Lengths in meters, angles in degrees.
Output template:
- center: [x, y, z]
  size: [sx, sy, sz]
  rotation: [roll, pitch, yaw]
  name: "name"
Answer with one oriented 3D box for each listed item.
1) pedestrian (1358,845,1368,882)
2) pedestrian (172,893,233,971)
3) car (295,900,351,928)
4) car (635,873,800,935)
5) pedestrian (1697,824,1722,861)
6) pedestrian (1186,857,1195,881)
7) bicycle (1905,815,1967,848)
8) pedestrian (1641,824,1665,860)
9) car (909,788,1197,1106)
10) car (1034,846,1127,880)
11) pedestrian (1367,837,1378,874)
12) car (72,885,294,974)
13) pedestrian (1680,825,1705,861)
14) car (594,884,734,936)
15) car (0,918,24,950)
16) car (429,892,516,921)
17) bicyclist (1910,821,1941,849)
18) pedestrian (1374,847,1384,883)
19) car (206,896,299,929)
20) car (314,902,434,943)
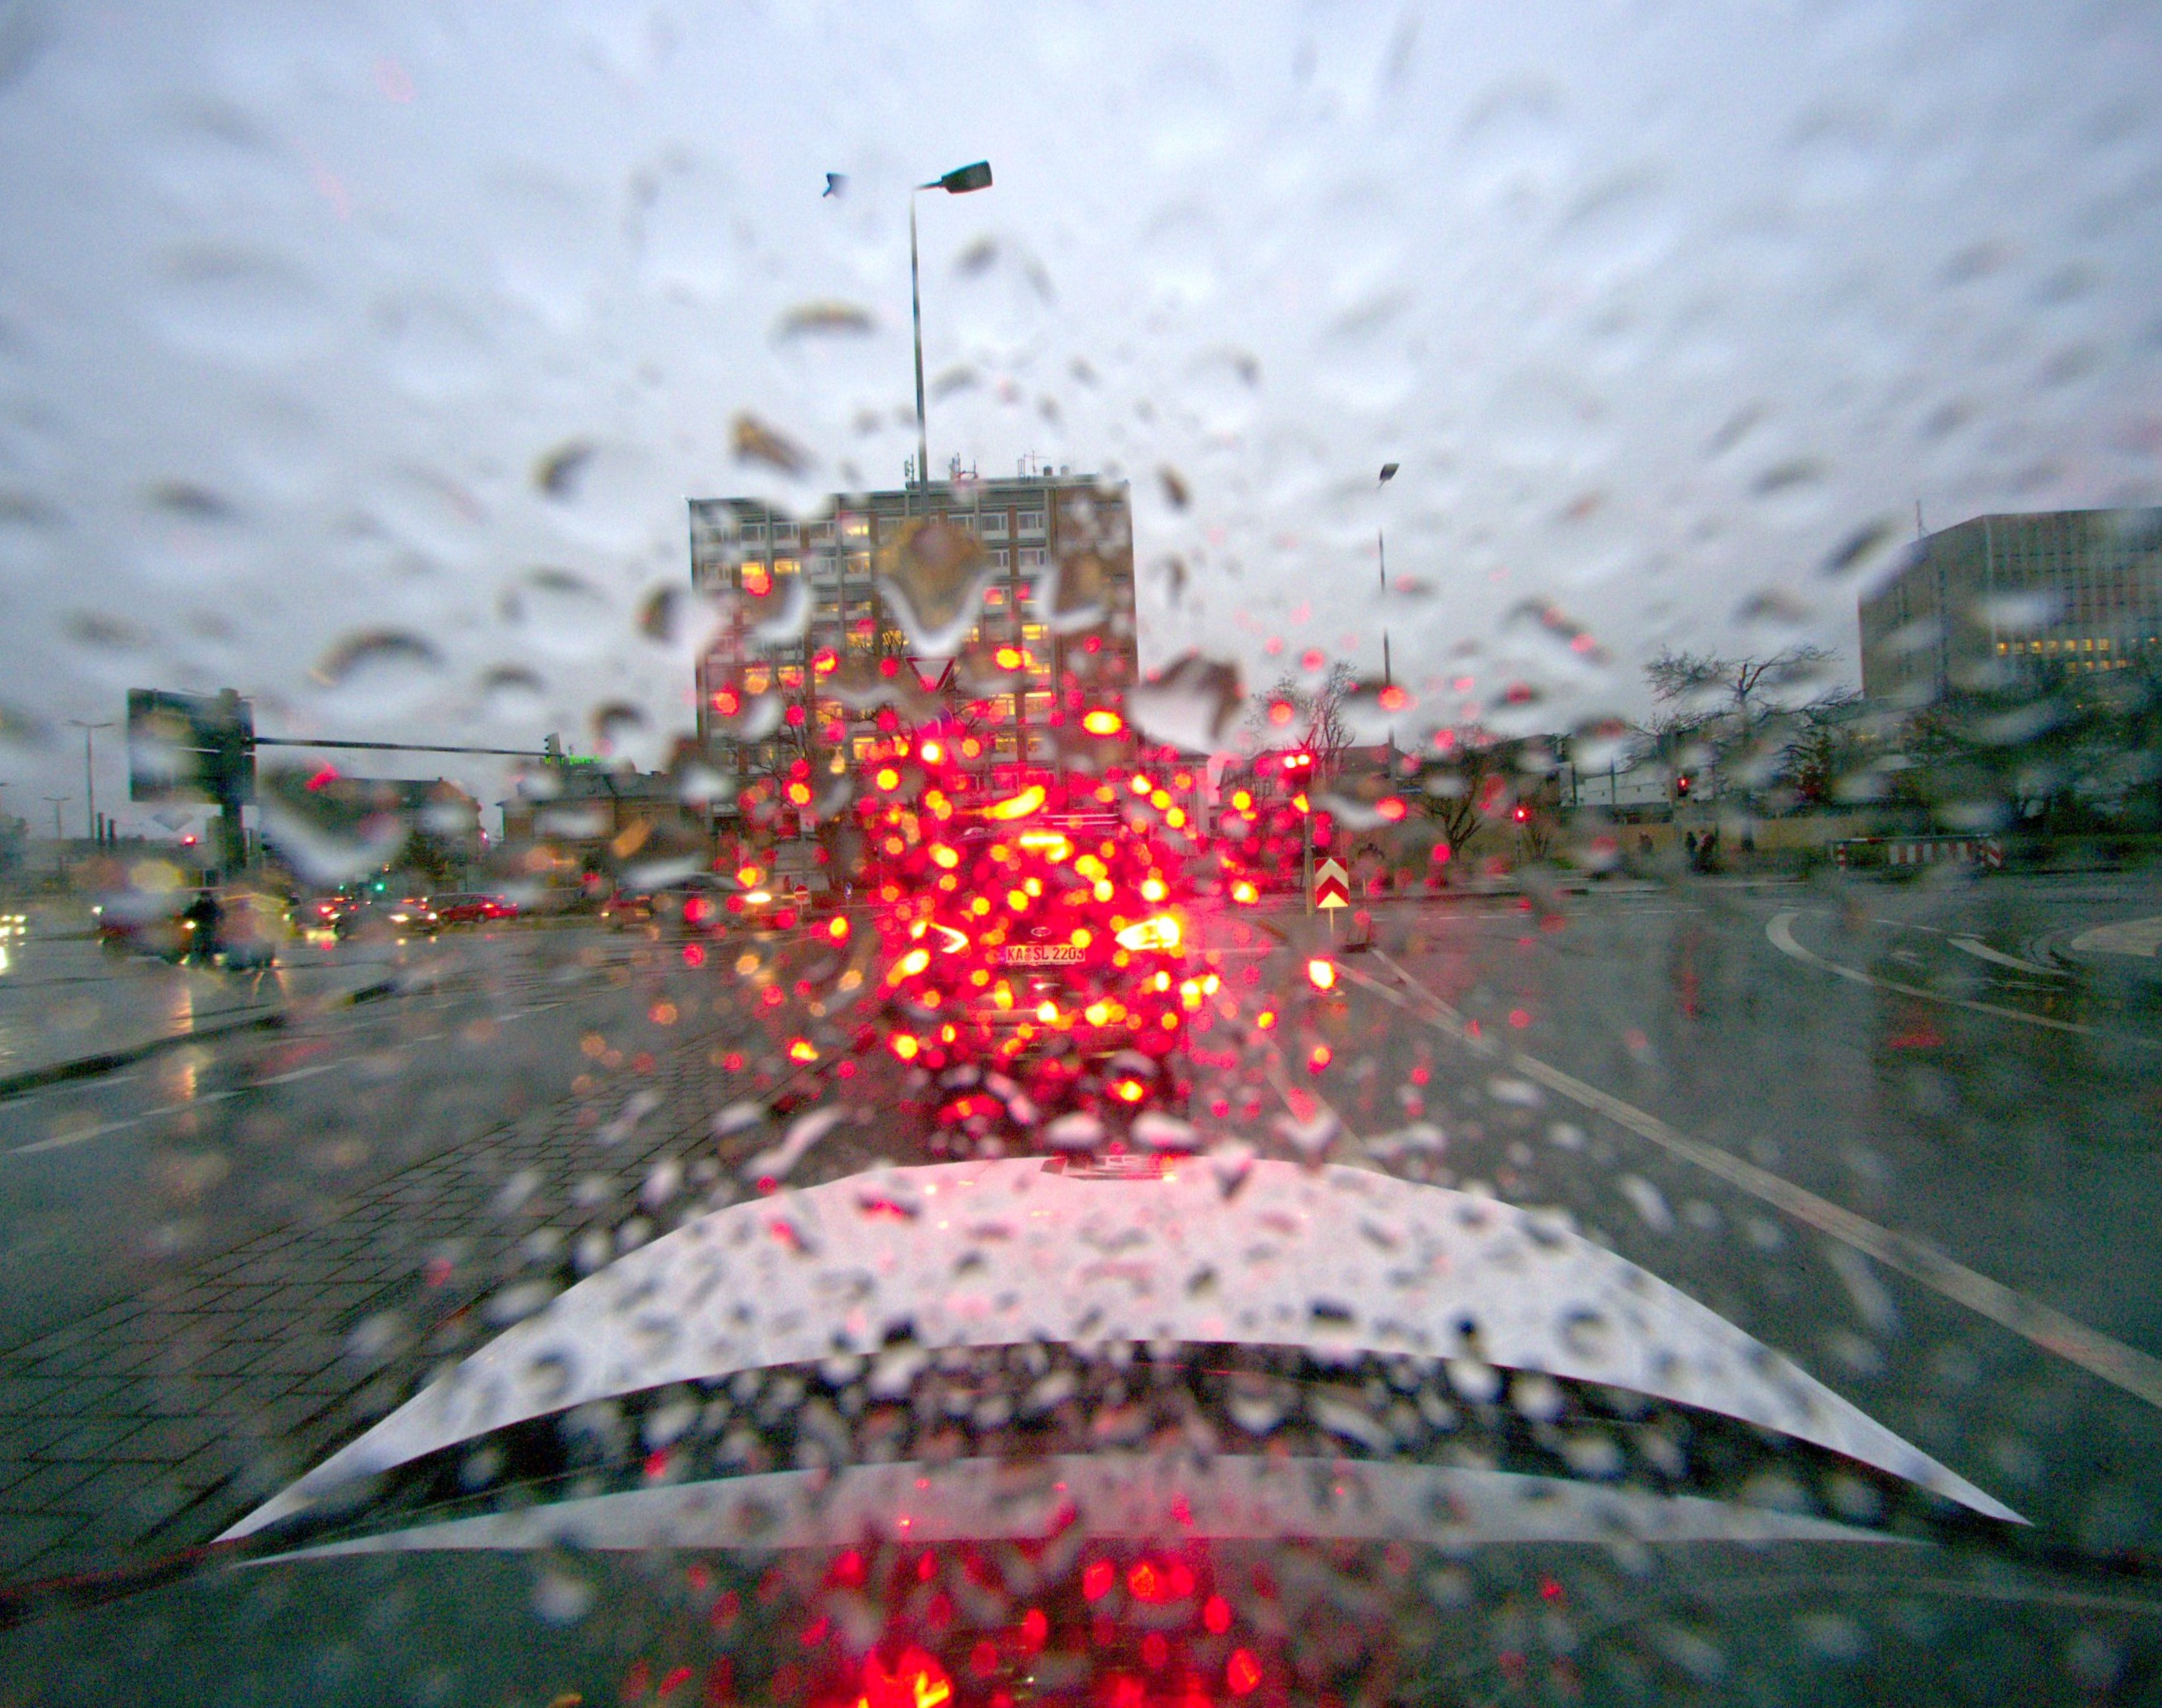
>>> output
- center: [14.411, 0.483, 41.654]
  size: [0.434, 1.839, 0.462]
  rotation: [-2, -2, 19]
  name: "pedestrian"
- center: [-19.682, 1.732, 18.258]
  size: [0.456, 1.697, 0.801]
  rotation: [-2, -2, 25]
  name: "pedestrian"
- center: [-45.323, 3.566, 48.714]
  size: [3.368, 1.605, 1.576]
  rotation: [-2, -2, 31]
  name: "car"
- center: [-10.404, 1.418, 23.394]
  size: [4.037, 1.684, 1.766]
  rotation: [-1, -2, 13]
  name: "car"
- center: [29.917, -0.554, 38.769]
  size: [0.620, 1.725, 0.762]
  rotation: [-1, -2, 8]
  name: "pedestrian"
- center: [5.951, 0.819, 44.158]
  size: [0.429, 1.270, 0.443]
  rotation: [-1, -2, 13]
  name: "pedestrian"
- center: [38.891, -1.029, 37.070]
  size: [1.911, 1.423, 0.594]
  rotation: [-1, -2, 10]
  name: "bicycle"
- center: [27.895, -0.568, 39.742]
  size: [0.620, 1.725, 0.762]
  rotation: [-1, -2, 8]
  name: "pedestrian"
- center: [-0.098, 0.531, 6.727]
  size: [1.641, 1.819, 4.002]
  rotation: [-1, 0, 2]
  name: "car"
- center: [0.018, 0.590, 50.906]
  size: [5.516, 2.024, 2.004]
  rotation: [-1, -2, 7]
  name: "car"
- center: [14.525, 0.063, 40.624]
  size: [0.454, 1.839, 0.441]
  rotation: [-2, -2, 19]
  name: "pedestrian"
- center: [-25.133, 2.046, 22.846]
  size: [4.981, 2.282, 2.268]
  rotation: [-2, -2, 18]
  name: "car"
- center: [29.947, -0.541, 39.904]
  size: [0.620, 1.725, 0.762]
  rotation: [-1, -2, 8]
  name: "pedestrian"
- center: [-14.143, 1.891, 27.688]
  size: [4.040, 1.684, 1.766]
  rotation: [-1, -2, 14]
  name: "car"
- center: [-52.696, 3.823, 38.757]
  size: [3.611, 1.449, 1.610]
  rotation: [-1, -2, 14]
  name: "car"
- center: [-31.508, 2.728, 42.194]
  size: [3.762, 1.398, 1.570]
  rotation: [-1, -2, 14]
  name: "car"
- center: [38.492, -0.850, 37.121]
  size: [0.694, 1.246, 0.609]
  rotation: [-1, -2, 10]
  name: "bicyclist"
- center: [15.159, 0.565, 41.407]
  size: [0.434, 1.839, 0.462]
  rotation: [-2, -2, 20]
  name: "pedestrian"
- center: [-53.214, 3.742, 52.342]
  size: [5.114, 1.913, 2.008]
  rotation: [-2, -1, 17]
  name: "car"
- center: [-27.345, 2.634, 31.519]
  size: [3.800, 1.449, 1.610]
  rotation: [-1, -2, 14]
  name: "car"
